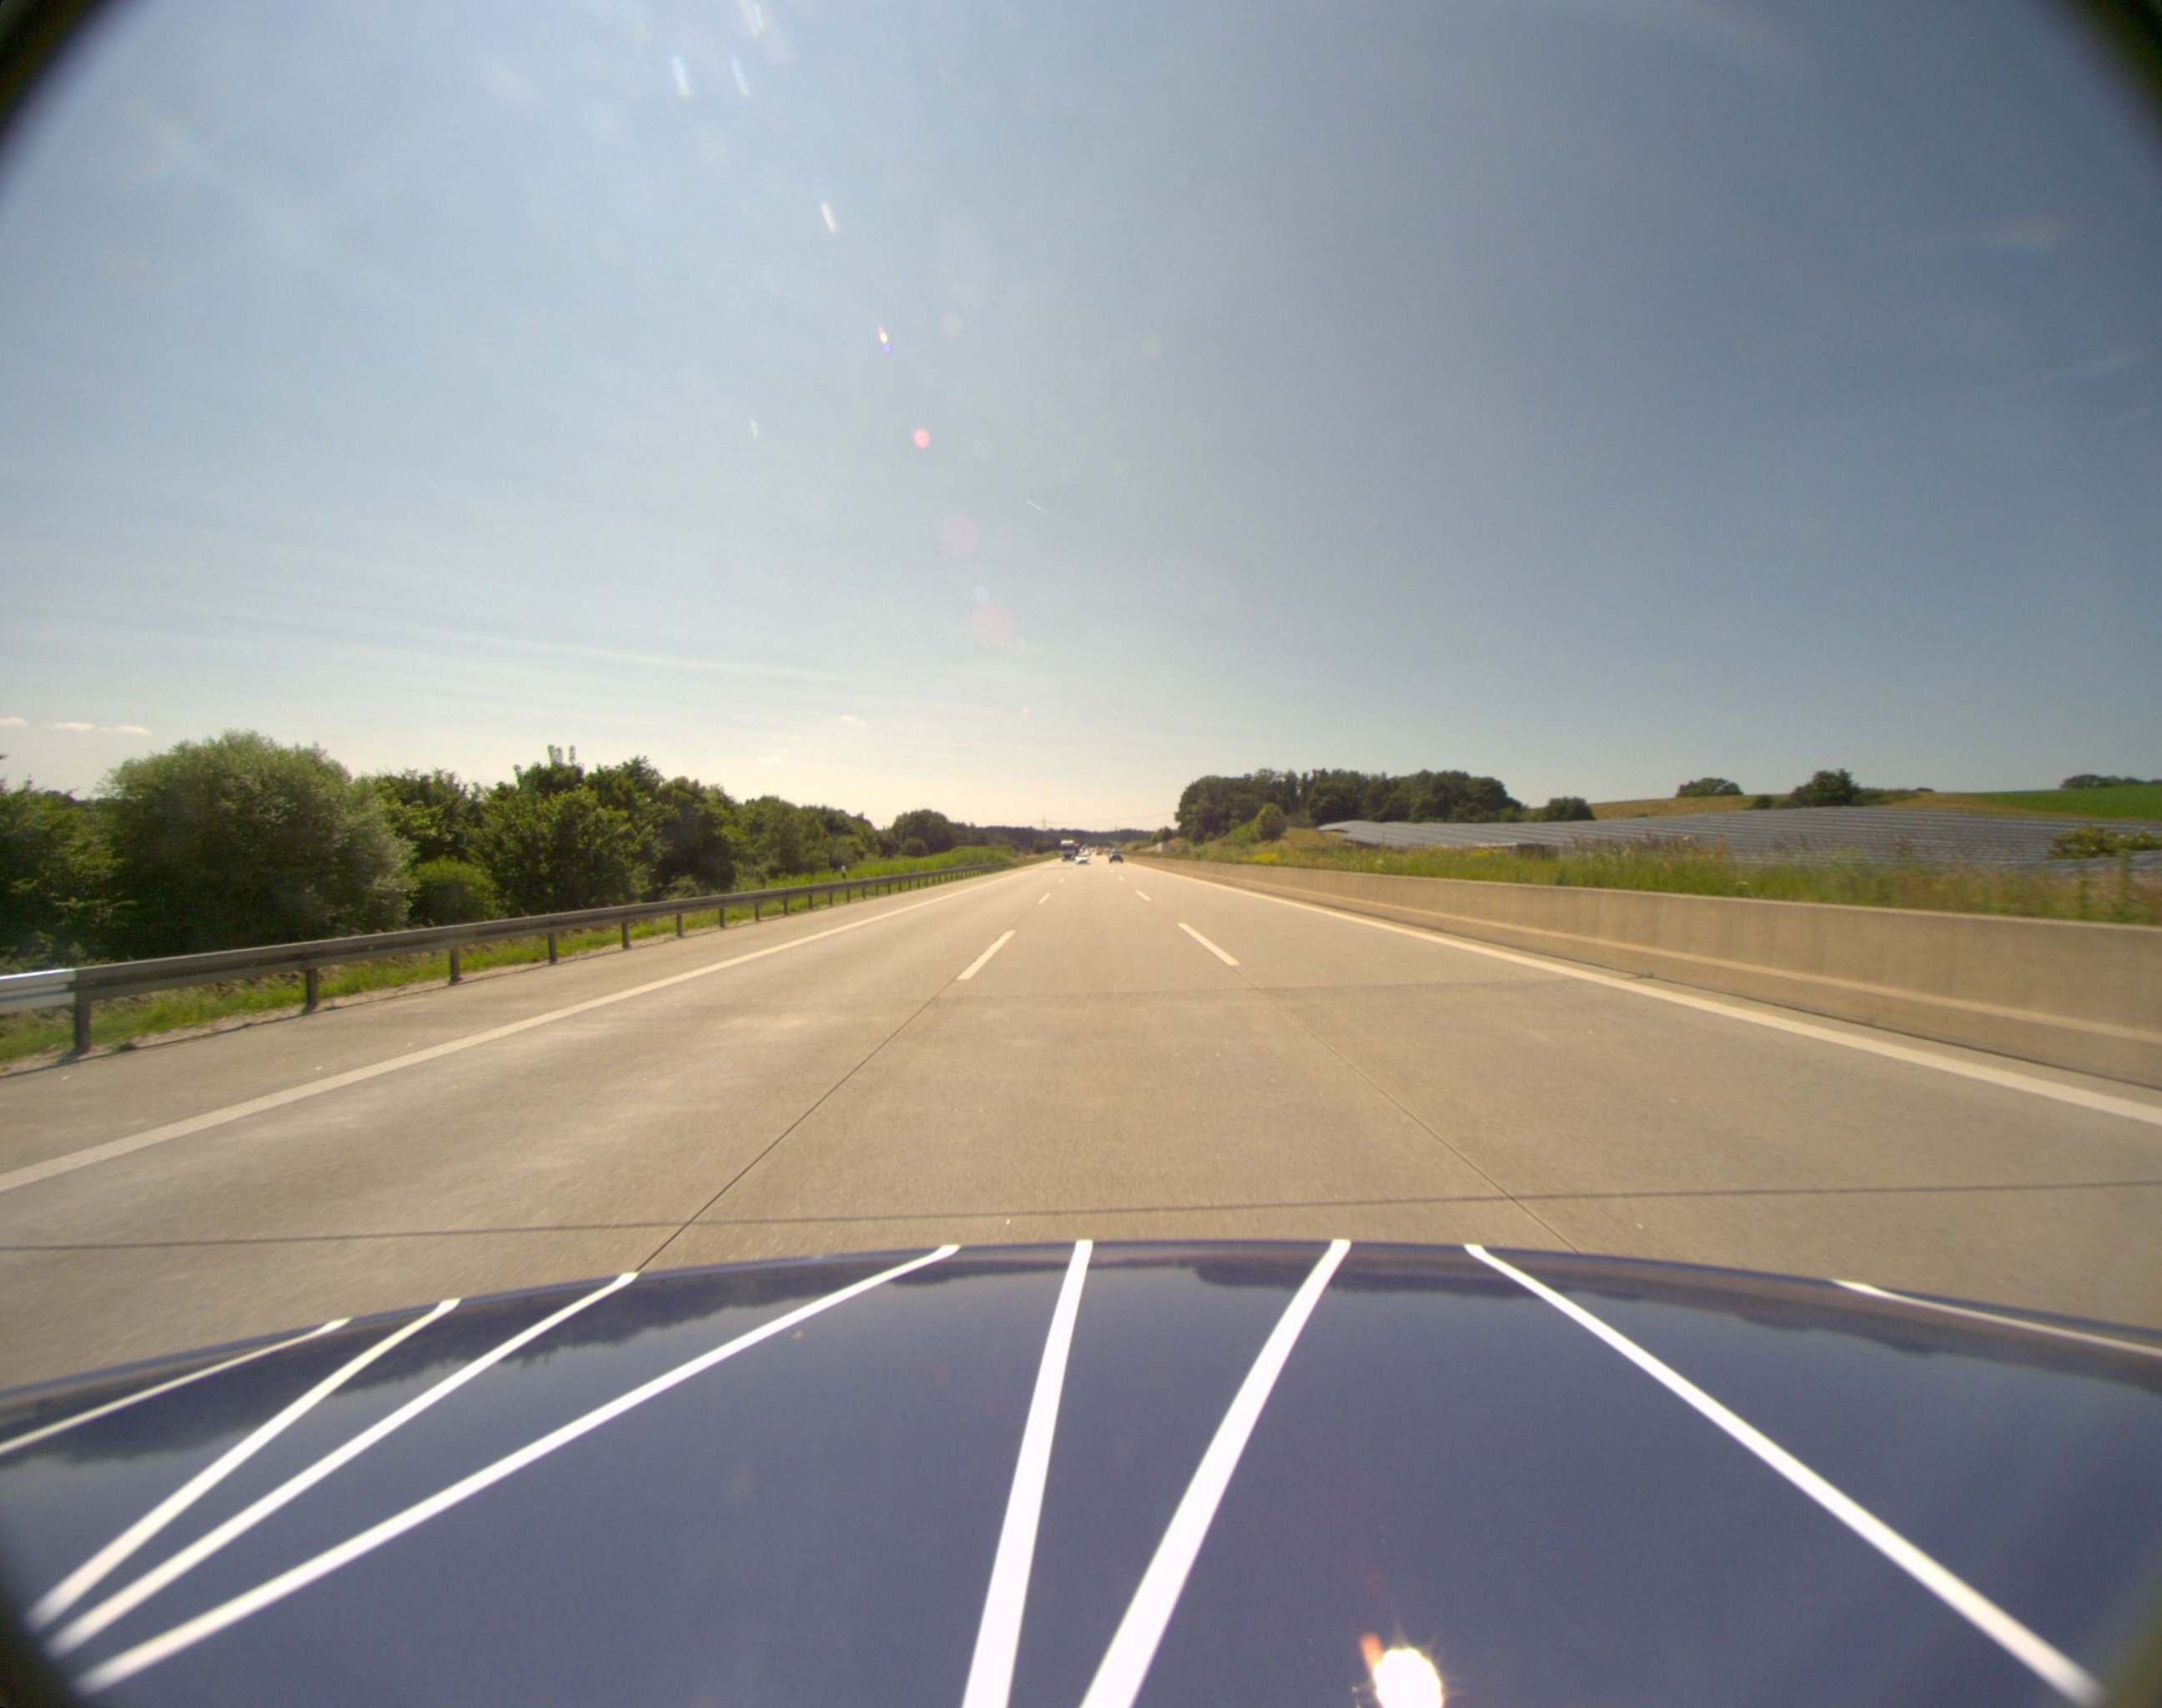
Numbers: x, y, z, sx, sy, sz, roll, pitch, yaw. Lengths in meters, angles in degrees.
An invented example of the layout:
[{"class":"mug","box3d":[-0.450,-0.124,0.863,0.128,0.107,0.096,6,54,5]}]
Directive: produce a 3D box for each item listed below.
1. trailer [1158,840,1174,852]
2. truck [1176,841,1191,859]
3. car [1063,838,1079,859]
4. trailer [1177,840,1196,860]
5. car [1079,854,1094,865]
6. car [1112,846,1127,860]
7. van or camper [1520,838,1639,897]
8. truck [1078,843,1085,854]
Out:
[{"class":"trailer","box3d":[23.531,-2.172,210.388,2.839,3.165,14.504,-2,1,1]},{"class":"truck","box3d":[22.778,-0.865,169.111,2.752,3.928,4.352,-2,1,1]},{"class":"car","box3d":[-1.998,-1.046,153.313,2.766,4.029,10.851,-1,1,1]},{"class":"trailer","box3d":[22.703,-0.864,164.178,2.739,4.167,10.256,-2,0,1]},{"class":"car","box3d":[0.786,0.760,106.289,2.065,1.472,5.068,-2,1,0]},{"class":"car","box3d":[5.606,-0.130,111.178,1.998,1.836,6.529,-3,1,1]},{"class":"van or camper","box3d":[18.101,0.449,27.810,1.766,1.958,3.950,-2,0,1]},{"class":"truck","box3d":[0.158,-1.716,243.080,2.351,3.474,5.245,-1,1,0]}]
